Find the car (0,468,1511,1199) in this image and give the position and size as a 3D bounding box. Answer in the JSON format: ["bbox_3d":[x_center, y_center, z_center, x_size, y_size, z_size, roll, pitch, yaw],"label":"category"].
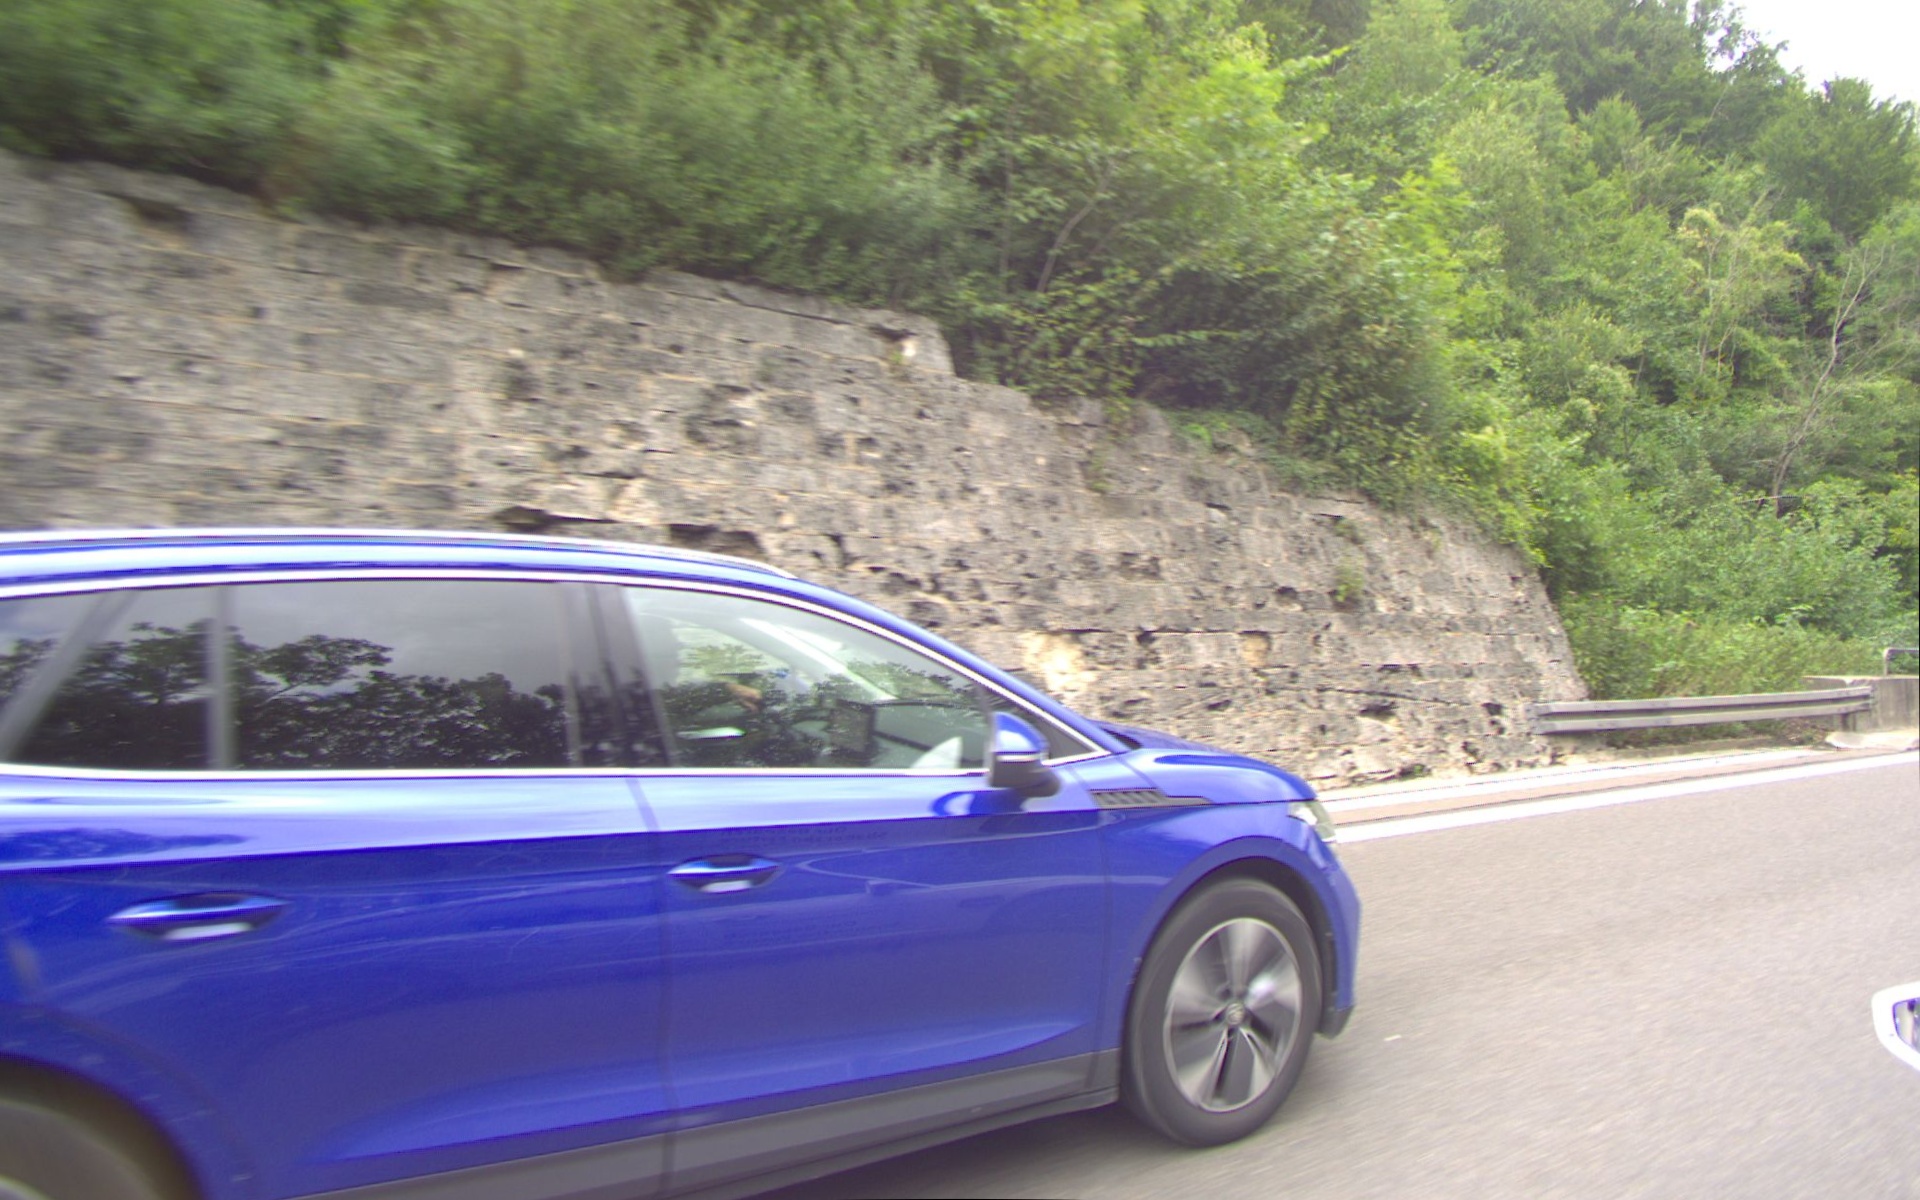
[{"bbox_3d":[-0.837,0.654,2.943,4.948,1.654,1.985,1,0,-29],"label":"car"}]
